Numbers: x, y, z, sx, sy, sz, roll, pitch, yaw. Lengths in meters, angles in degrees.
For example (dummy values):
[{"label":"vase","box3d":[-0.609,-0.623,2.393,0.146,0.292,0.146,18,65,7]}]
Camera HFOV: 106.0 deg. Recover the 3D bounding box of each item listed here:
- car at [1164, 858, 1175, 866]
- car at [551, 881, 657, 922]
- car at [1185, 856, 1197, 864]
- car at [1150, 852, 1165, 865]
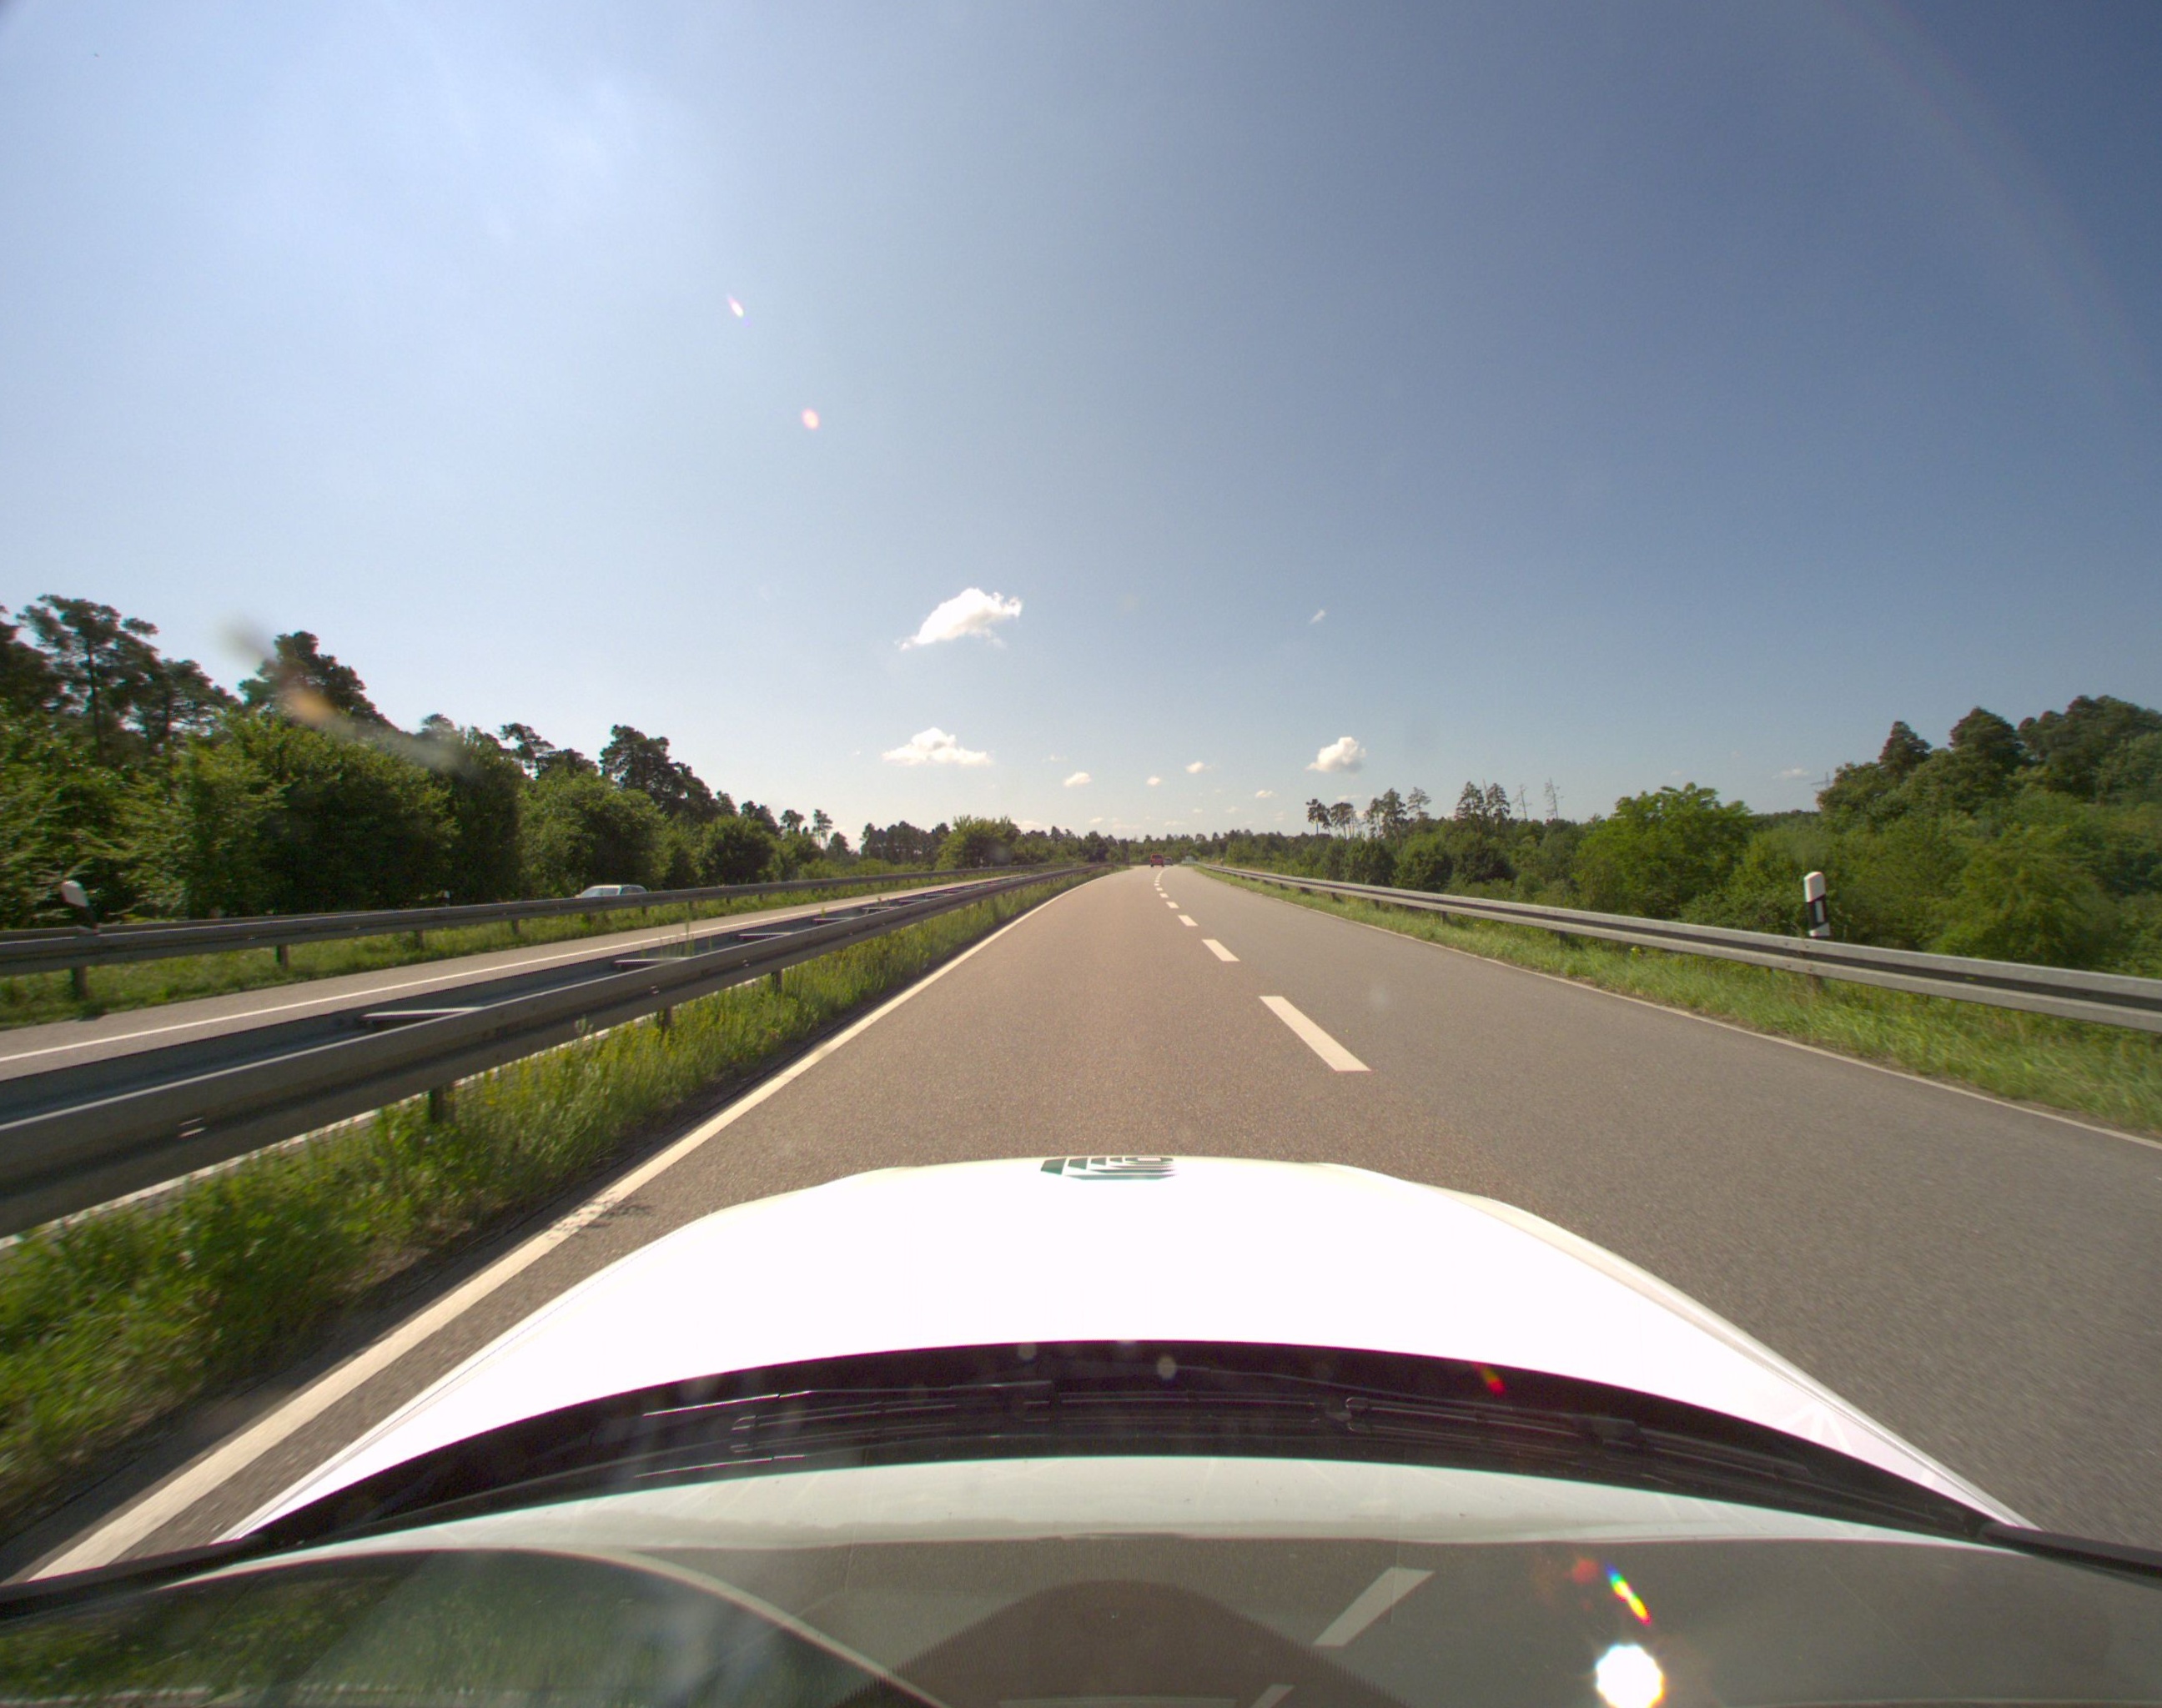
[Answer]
[{"label":"car","box3d":[15.697,1.436,144.271,1.996,1.494,4.247,0,-1,7]},{"label":"car","box3d":[-19.879,1.939,34.240,1.945,1.414,4.824,-2,0,-6]},{"label":"car","box3d":[26.601,1.445,197.066,2.169,1.955,5.824,0,-1,13]},{"label":"car","box3d":[11.497,0.717,122.725,2.066,1.993,5.121,0,-1,7]}]
